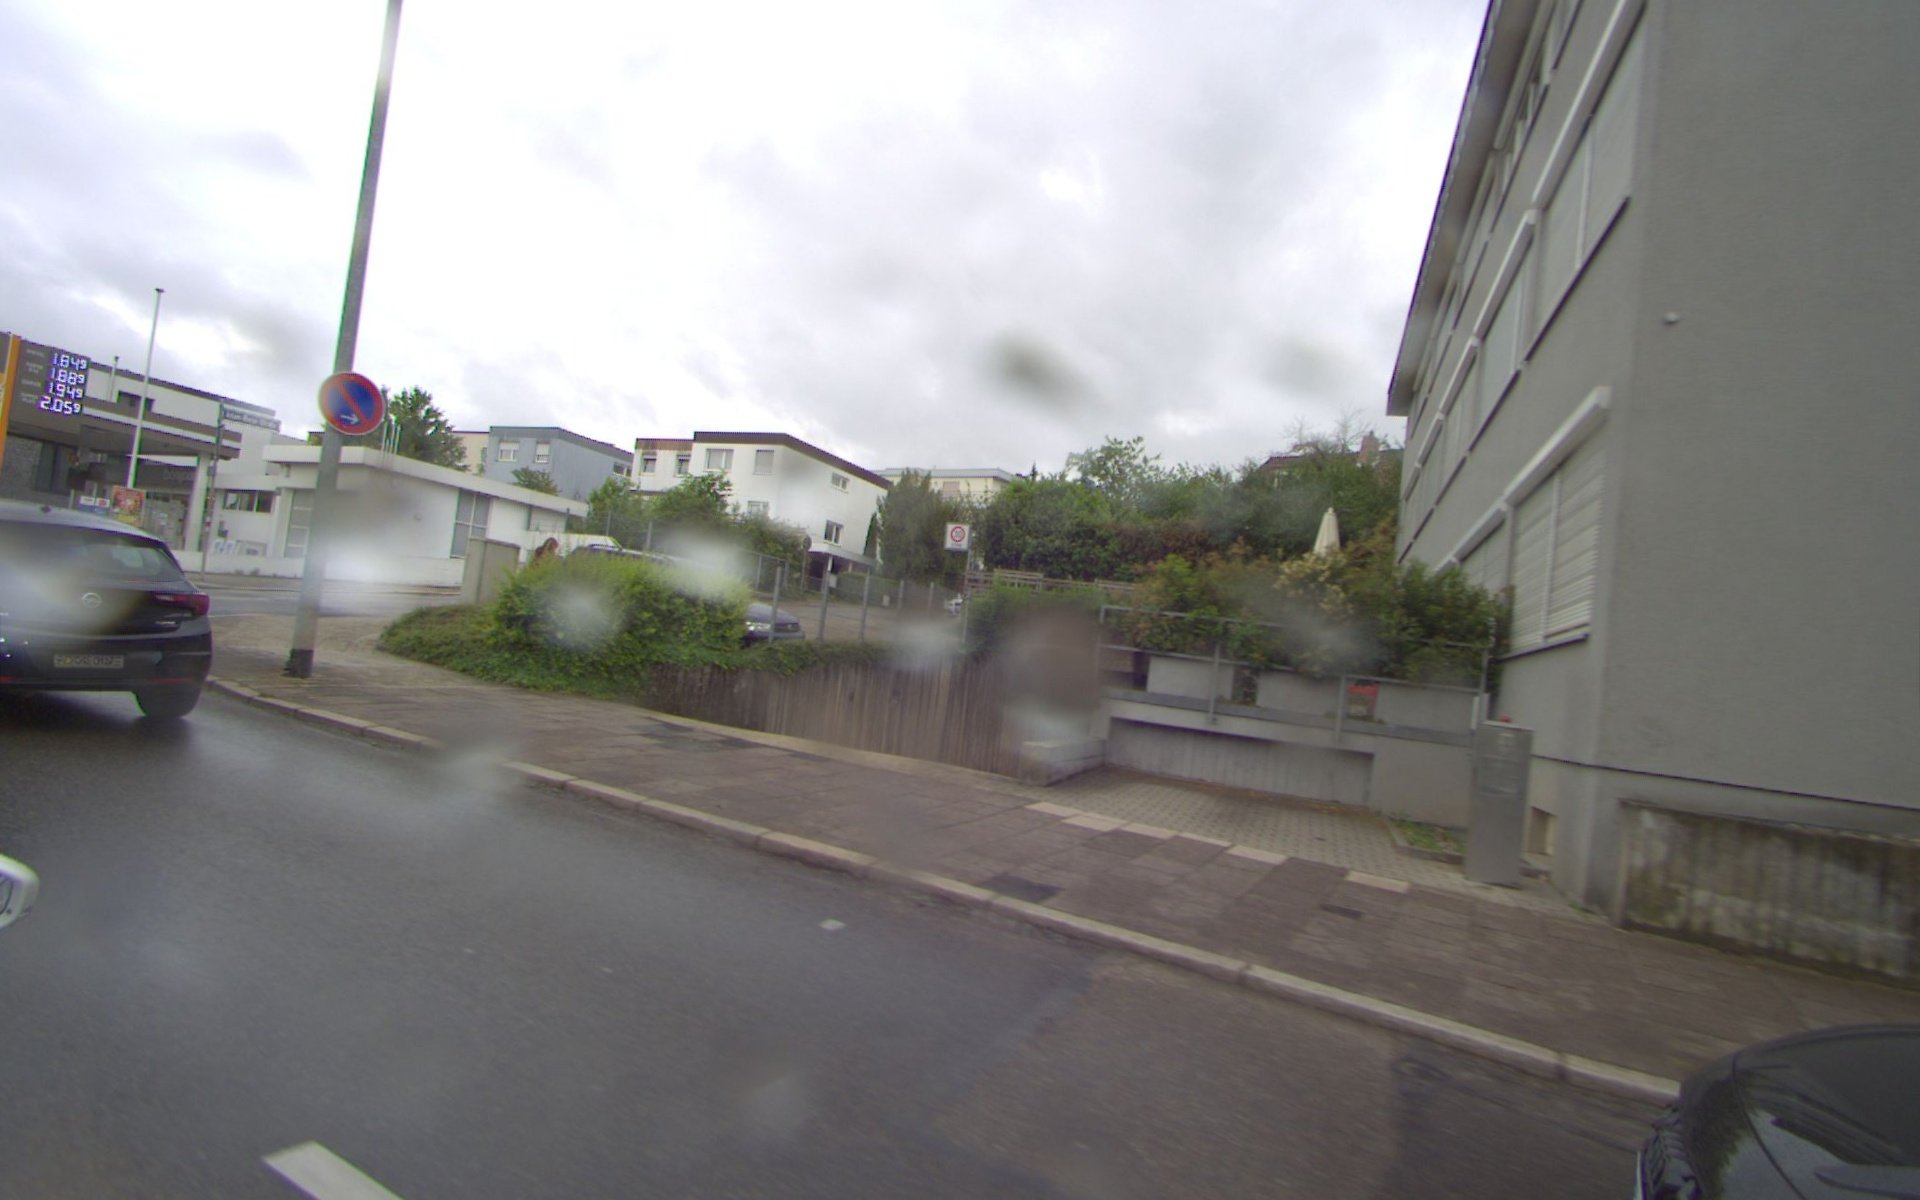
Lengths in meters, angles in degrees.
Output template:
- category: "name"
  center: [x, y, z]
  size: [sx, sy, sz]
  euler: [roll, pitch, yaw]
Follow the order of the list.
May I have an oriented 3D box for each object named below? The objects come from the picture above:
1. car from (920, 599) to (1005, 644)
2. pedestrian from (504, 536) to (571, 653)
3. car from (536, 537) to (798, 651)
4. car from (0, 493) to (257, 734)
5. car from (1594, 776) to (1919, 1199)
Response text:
- category: "car"
  center: [0.159, 0.925, 41.853]
  size: [1.964, 1.492, 4.000]
  euler: [5, -2, 24]
- category: "pedestrian"
  center: [-7.738, -0.091, 18.423]
  size: [0.605, 2.036, 0.716]
  euler: [4, -3, 37]
- category: "car"
  center: [-5.009, -0.113, 17.264]
  size: [3.926, 1.547, 1.814]
  euler: [5, 1, 21]
- category: "car"
  center: [-7.382, -0.065, 7.455]
  size: [3.929, 1.466, 1.762]
  euler: [7, -2, 26]
- category: "car"
  center: [3.276, 1.250, 0.747]
  size: [4.662, 1.440, 1.870]
  euler: [4, -3, 32]
